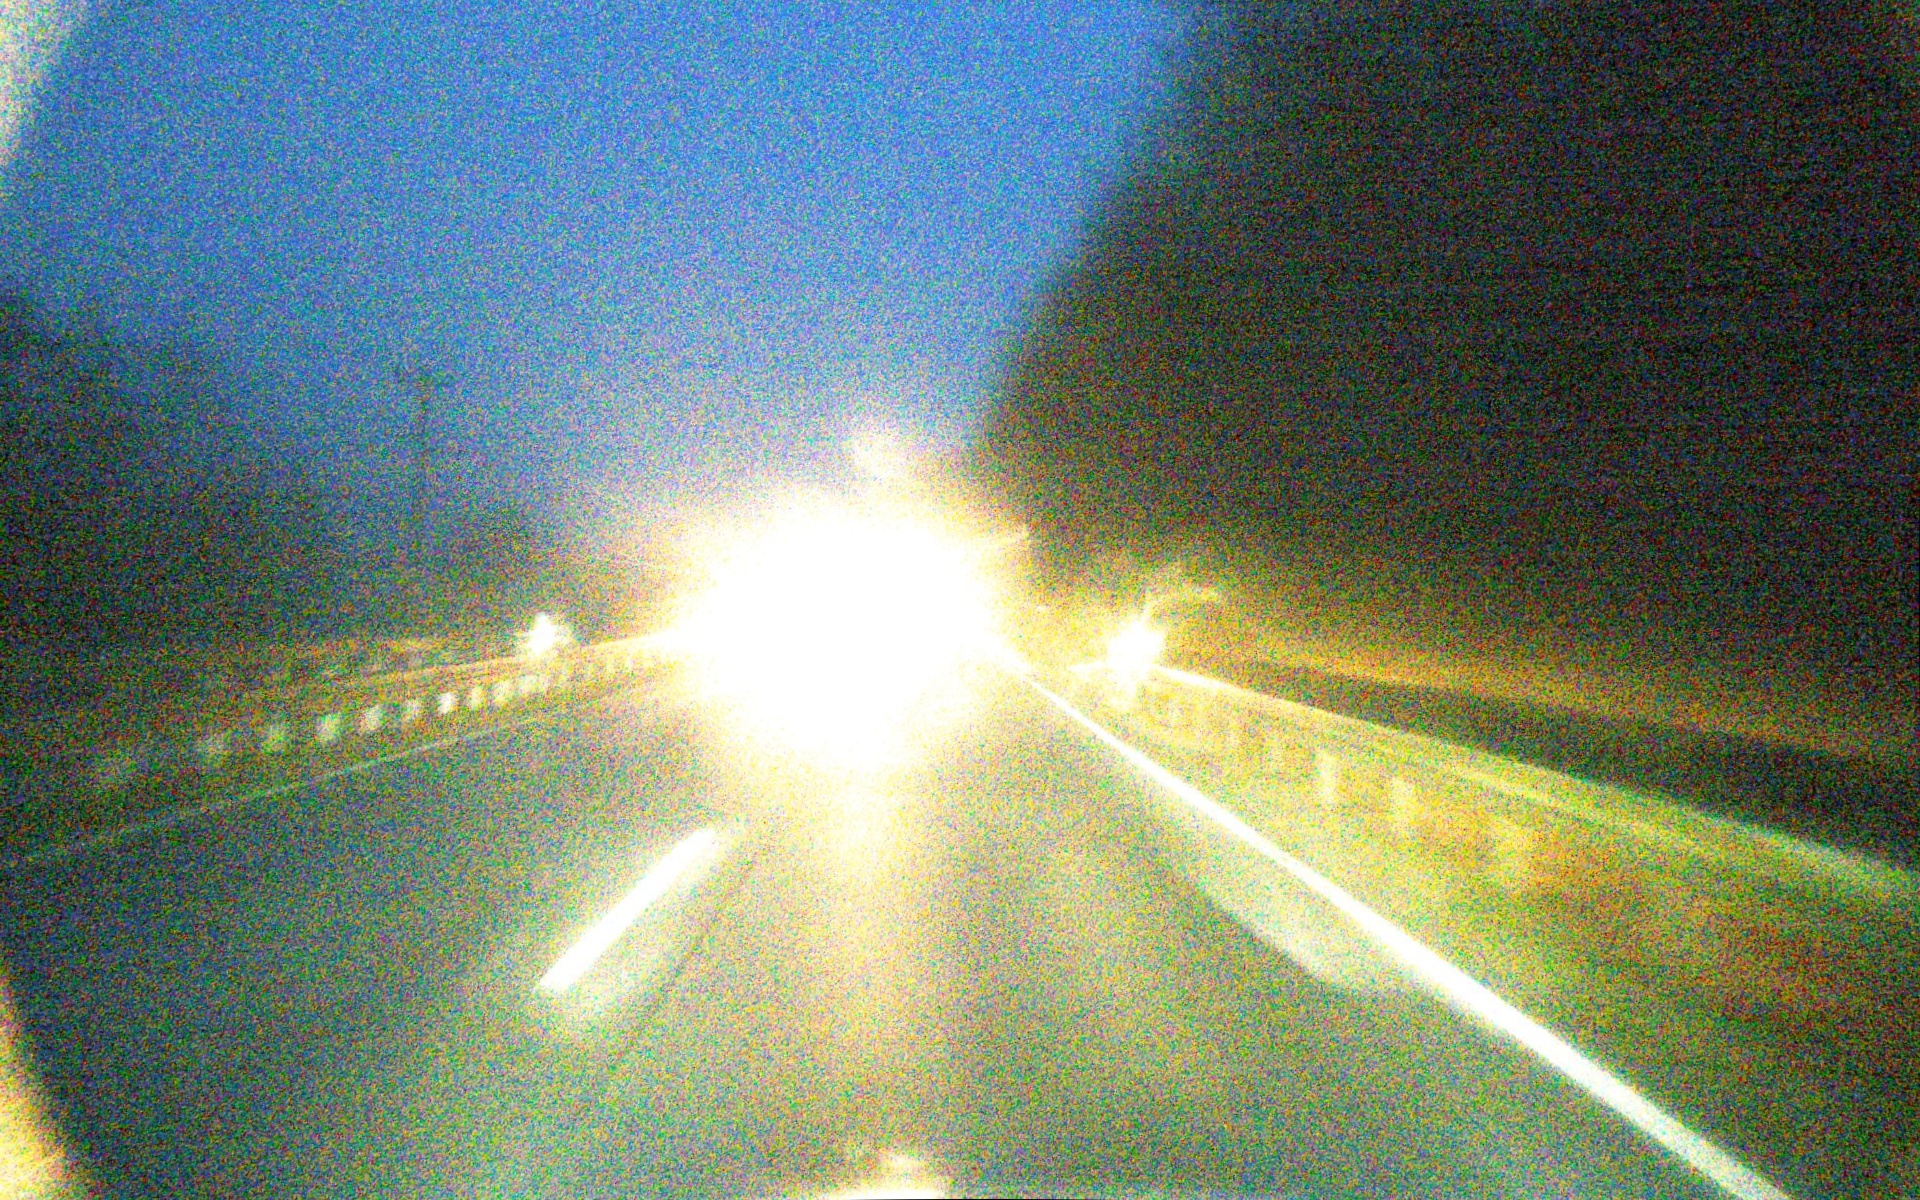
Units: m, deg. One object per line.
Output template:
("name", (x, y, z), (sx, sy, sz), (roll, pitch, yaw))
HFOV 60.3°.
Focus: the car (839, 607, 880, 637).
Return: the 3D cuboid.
("car", (-5.175, 1.117, 85.387), (1.953, 1.501, 3.923), (1, 0, -1))
